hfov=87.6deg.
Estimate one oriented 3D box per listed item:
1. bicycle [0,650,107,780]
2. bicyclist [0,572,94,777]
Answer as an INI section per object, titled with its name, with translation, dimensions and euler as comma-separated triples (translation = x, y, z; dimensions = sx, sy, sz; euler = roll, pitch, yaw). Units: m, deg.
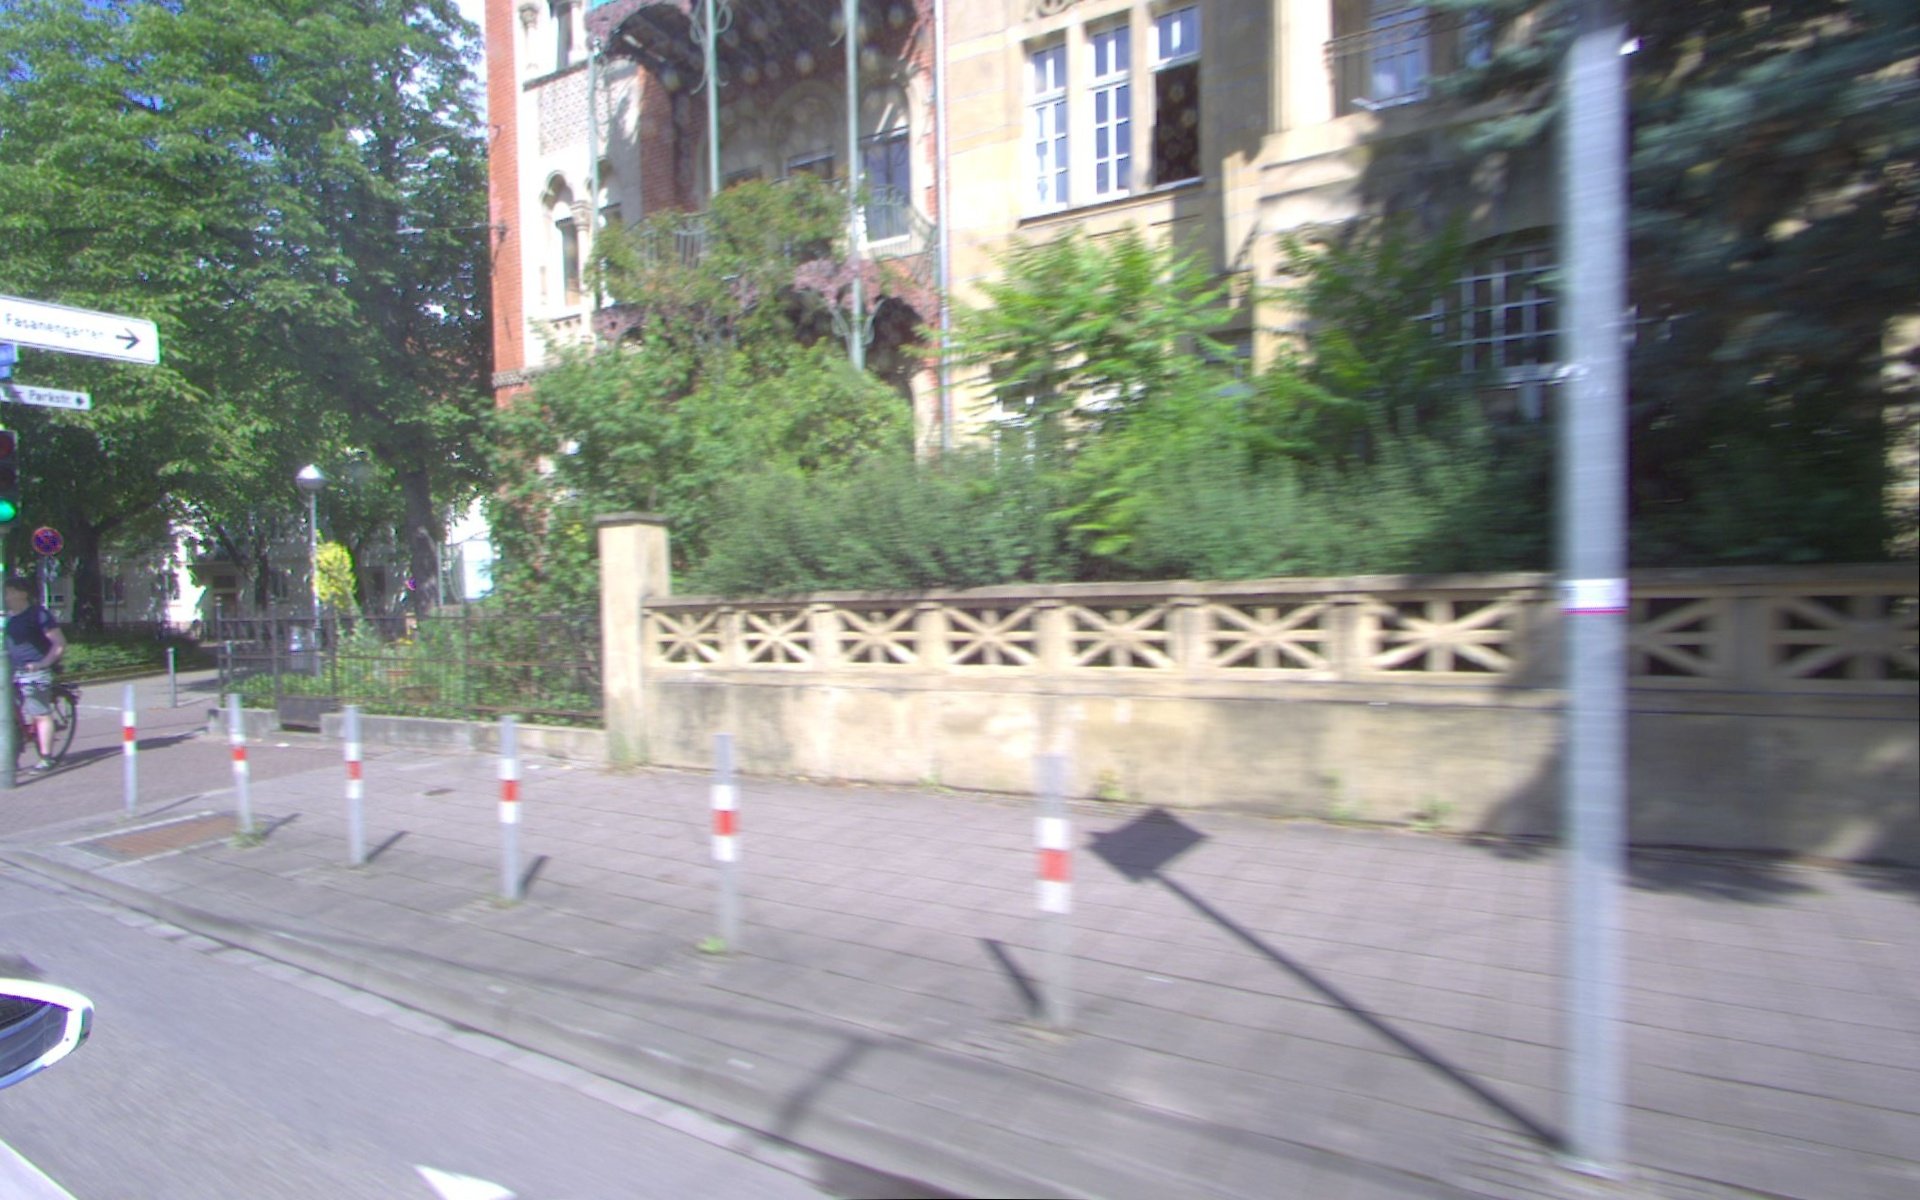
[bicycle]
translation = -8.902, 1.060, 9.585
dimensions = 0.383, 1.049, 1.841
euler = -1, 1, -17
[bicyclist]
translation = -8.881, 0.676, 9.413
dimensions = 0.804, 1.844, 0.735
euler = -1, 1, 6
